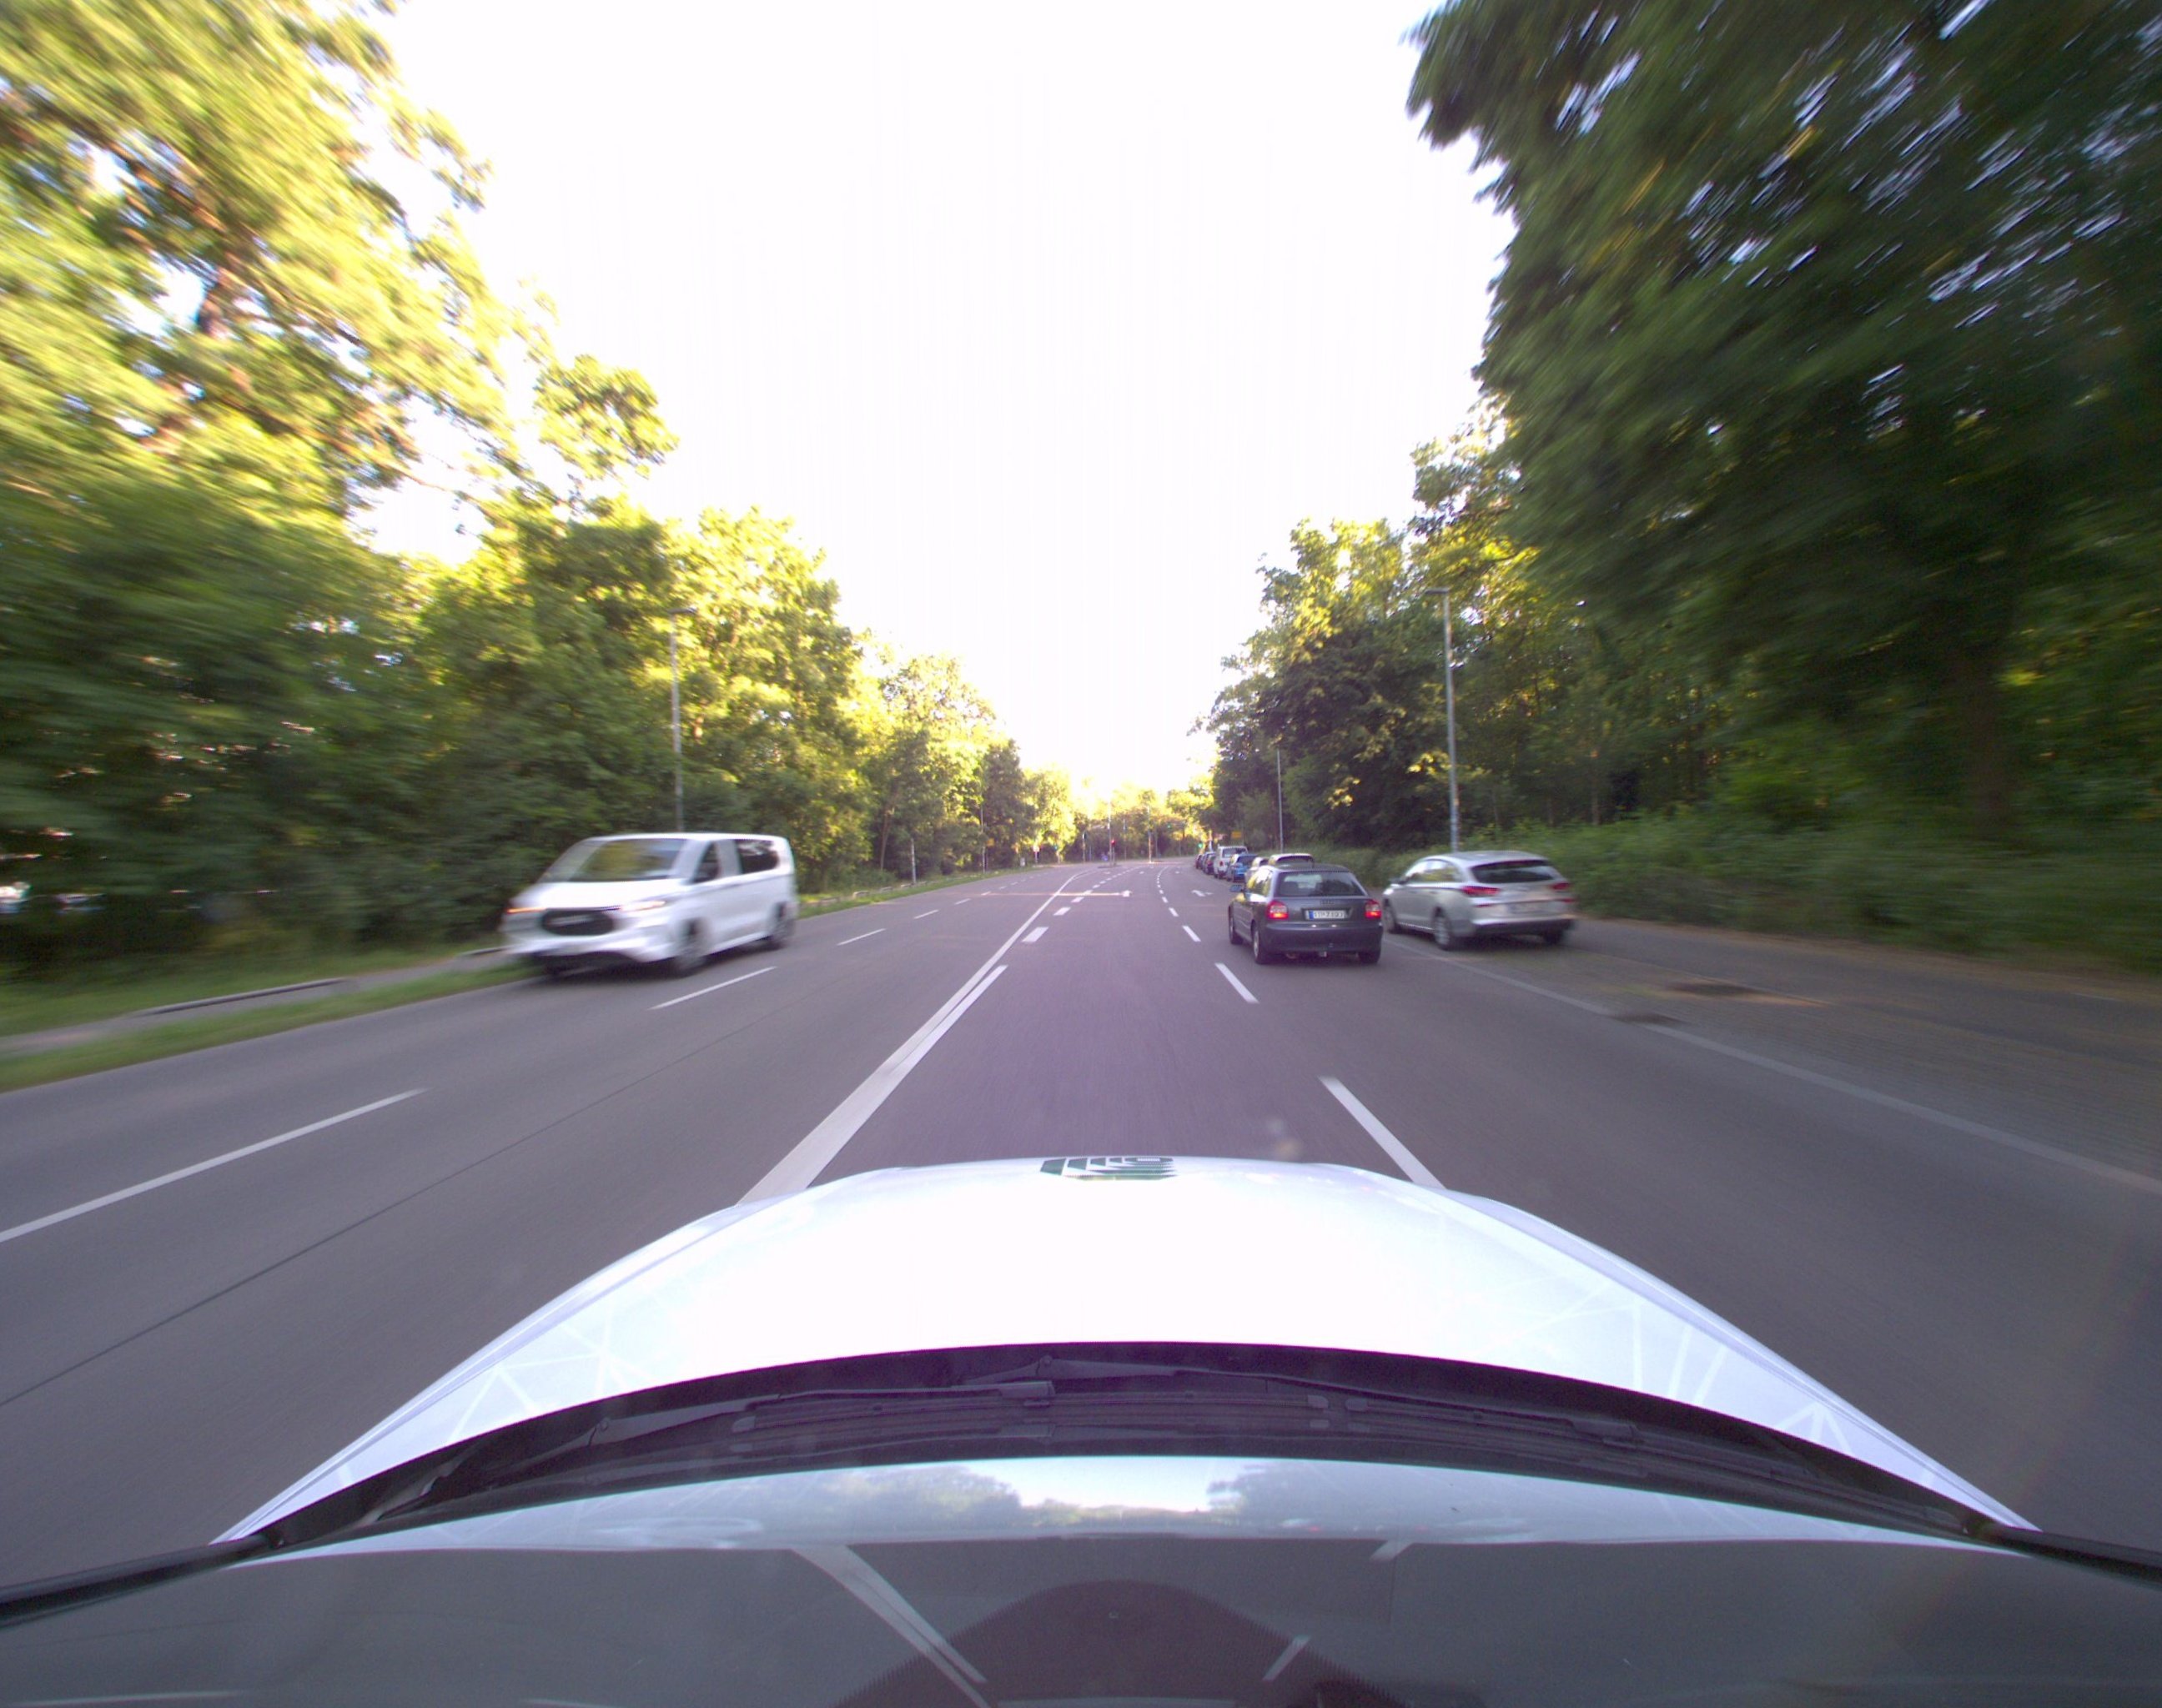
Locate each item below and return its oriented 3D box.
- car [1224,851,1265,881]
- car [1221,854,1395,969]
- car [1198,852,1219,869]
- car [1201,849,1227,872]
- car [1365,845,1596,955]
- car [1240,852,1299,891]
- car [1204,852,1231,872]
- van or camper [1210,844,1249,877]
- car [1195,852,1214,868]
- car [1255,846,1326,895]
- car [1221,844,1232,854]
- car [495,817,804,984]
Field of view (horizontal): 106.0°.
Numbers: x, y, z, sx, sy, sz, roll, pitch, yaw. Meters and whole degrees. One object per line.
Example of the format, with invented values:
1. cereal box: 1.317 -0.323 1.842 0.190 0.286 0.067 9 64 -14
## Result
1. car: 8.853 0.624 44.411 1.640 1.522 3.870 -2 0 3
2. car: 3.301 0.750 12.637 1.720 1.441 4.093 -1 0 3
3. car: 11.938 0.596 76.240 1.718 1.490 4.098 -3 0 7
4. car: 10.720 0.525 65.784 1.719 1.704 4.096 -3 0 6
5. car: 6.400 0.639 13.723 1.721 1.441 4.670 -3 0 3
6. car: 7.550 0.669 32.938 1.719 1.409 4.095 -2 0 5
7. car: 10.077 0.568 60.383 1.642 1.441 4.120 -2 0 6
8. van or camper: 9.190 0.376 50.679 1.824 1.970 5.348 -1 0 4
9. car: 12.380 0.606 81.903 1.718 1.461 4.175 -3 0 7
10. car: 7.191 0.534 28.346 1.719 1.522 4.095 -2 0 5
11. car: 32.682 -1.097 182.784 2.293 2.336 4.573 -1 0 11
12. car: -6.050 0.580 12.317 1.987 1.992 4.997 -1 -1 0
